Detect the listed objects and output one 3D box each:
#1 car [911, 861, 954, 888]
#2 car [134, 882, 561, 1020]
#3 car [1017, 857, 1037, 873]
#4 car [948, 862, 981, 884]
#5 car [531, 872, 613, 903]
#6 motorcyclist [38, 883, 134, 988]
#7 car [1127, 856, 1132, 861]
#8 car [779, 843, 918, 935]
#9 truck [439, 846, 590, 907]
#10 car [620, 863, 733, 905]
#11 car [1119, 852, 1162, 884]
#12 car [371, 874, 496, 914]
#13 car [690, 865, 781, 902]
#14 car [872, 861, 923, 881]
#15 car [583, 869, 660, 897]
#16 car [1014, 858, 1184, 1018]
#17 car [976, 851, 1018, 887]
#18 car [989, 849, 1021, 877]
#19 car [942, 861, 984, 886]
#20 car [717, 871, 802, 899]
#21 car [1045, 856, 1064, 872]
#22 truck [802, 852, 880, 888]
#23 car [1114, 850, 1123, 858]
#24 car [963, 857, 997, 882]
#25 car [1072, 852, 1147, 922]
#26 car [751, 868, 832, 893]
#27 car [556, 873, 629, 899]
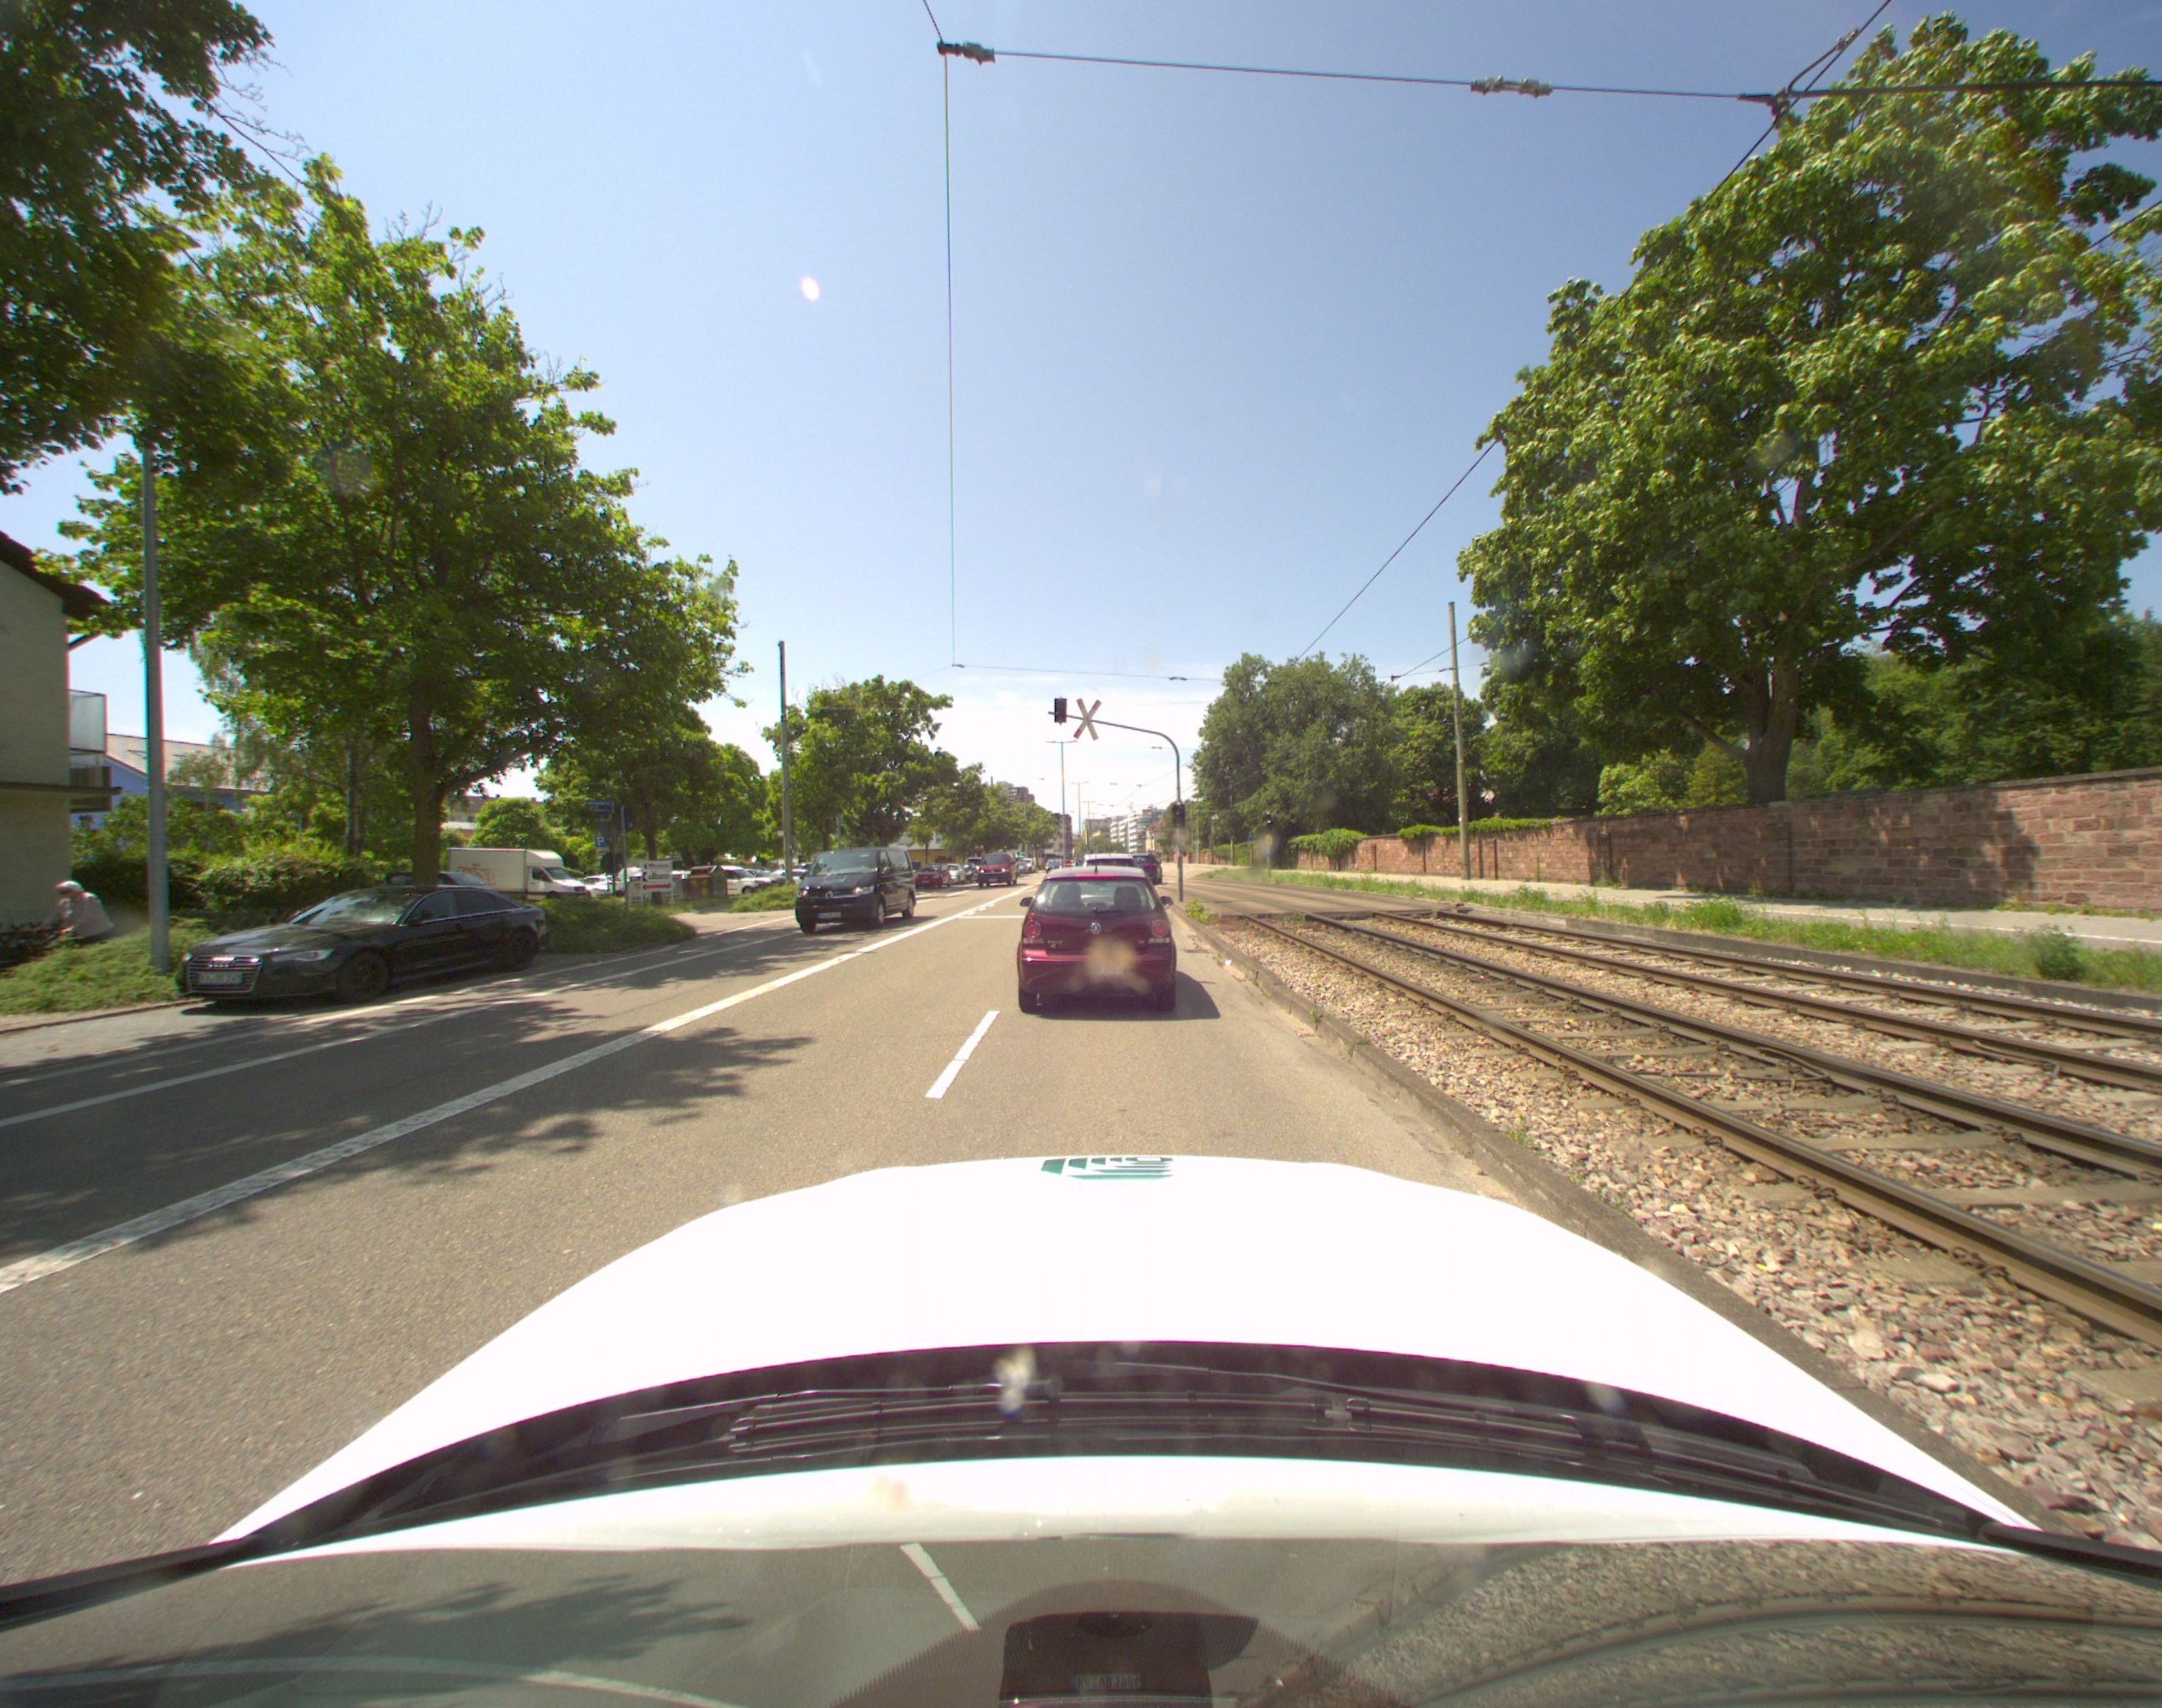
[{"bbox_3d":[-8.973,1.197,49.331,1.664,1.546,3.730,-1,-1,4],"label":"car"},{"bbox_3d":[-10.183,1.219,12.002,1.887,1.456,4.810,-1,0,0],"label":"car"},{"bbox_3d":[-6.730,1.369,102.123,1.868,1.965,5.166,2,0,2],"label":"car"},{"bbox_3d":[-8.591,1.400,60.521,1.607,1.484,3.788,2,0,4],"label":"car"},{"bbox_3d":[-31.976,2.084,51.228,4.113,1.820,1.647,-1,0,0],"label":"car"},{"bbox_3d":[-14.994,1.210,12.288,0.584,1.503,0.662,1,0,2],"label":"motorcyclist"},{"bbox_3d":[13.113,1.142,221.244,1.348,1.252,2.973,-1,0,2],"label":"car"},{"bbox_3d":[-5.524,0.777,20.035,1.911,1.910,4.572,-3,0,1],"label":"car"},{"bbox_3d":[-32.104,1.267,46.314,6.955,3.227,2.150,-1,0,-1],"label":"truck"},{"bbox_3d":[-19.856,1.438,40.096,4.437,1.857,2.059,-2,0,-3],"label":"car"},{"bbox_3d":[3.228,0.717,43.262,1.762,1.630,4.013,-1,0,11],"label":"car"},{"bbox_3d":[-32.120,1.957,40.483,4.686,1.820,1.942,-1,0,3],"label":"car"},{"bbox_3d":[-18.962,1.626,44.802,4.248,1.835,1.675,-2,0,3],"label":"car"},{"bbox_3d":[-18.573,1.719,82.755,4.703,1.813,1.796,-2,0,0],"label":"car"},{"bbox_3d":[-31.734,2.010,56.319,4.113,1.820,1.971,-1,-1,0],"label":"car"},{"bbox_3d":[0.152,0.811,9.763,1.605,1.498,3.998,-1,0,-1],"label":"car"},{"bbox_3d":[-4.902,0.844,48.154,1.893,1.926,4.819,-3,0,0],"label":"car"},{"bbox_3d":[-7.621,0.930,82.507,2.389,2.656,6.175,2,0,2],"label":"car"},{"bbox_3d":[-7.907,1.296,55.034,1.711,1.427,4.776,-4,0,4],"label":"car"},{"bbox_3d":[-18.892,1.801,48.002,4.186,1.403,2.079,-2,0,-3],"label":"car"},{"bbox_3d":[-2.851,1.094,88.381,1.731,1.657,4.068,-3,0,1],"label":"car"},{"bbox_3d":[-19.626,1.292,66.725,5.556,2.759,2.433,-2,0,2],"label":"truck"},{"bbox_3d":[9.774,0.023,214.849,1.914,1.910,4.565,-2,0,-3],"label":"car"},{"bbox_3d":[-8.240,1.264,66.771,1.854,1.937,4.810,2,0,4],"label":"car"},{"bbox_3d":[0.735,0.800,21.586,1.789,1.683,4.001,-1,0,1],"label":"car"},{"bbox_3d":[-19.802,1.791,55.869,4.746,1.488,2.058,-2,0,0],"label":"car"},{"bbox_3d":[-32.351,2.131,54.005,3.733,1.576,1.733,-1,0,0],"label":"car"}]
